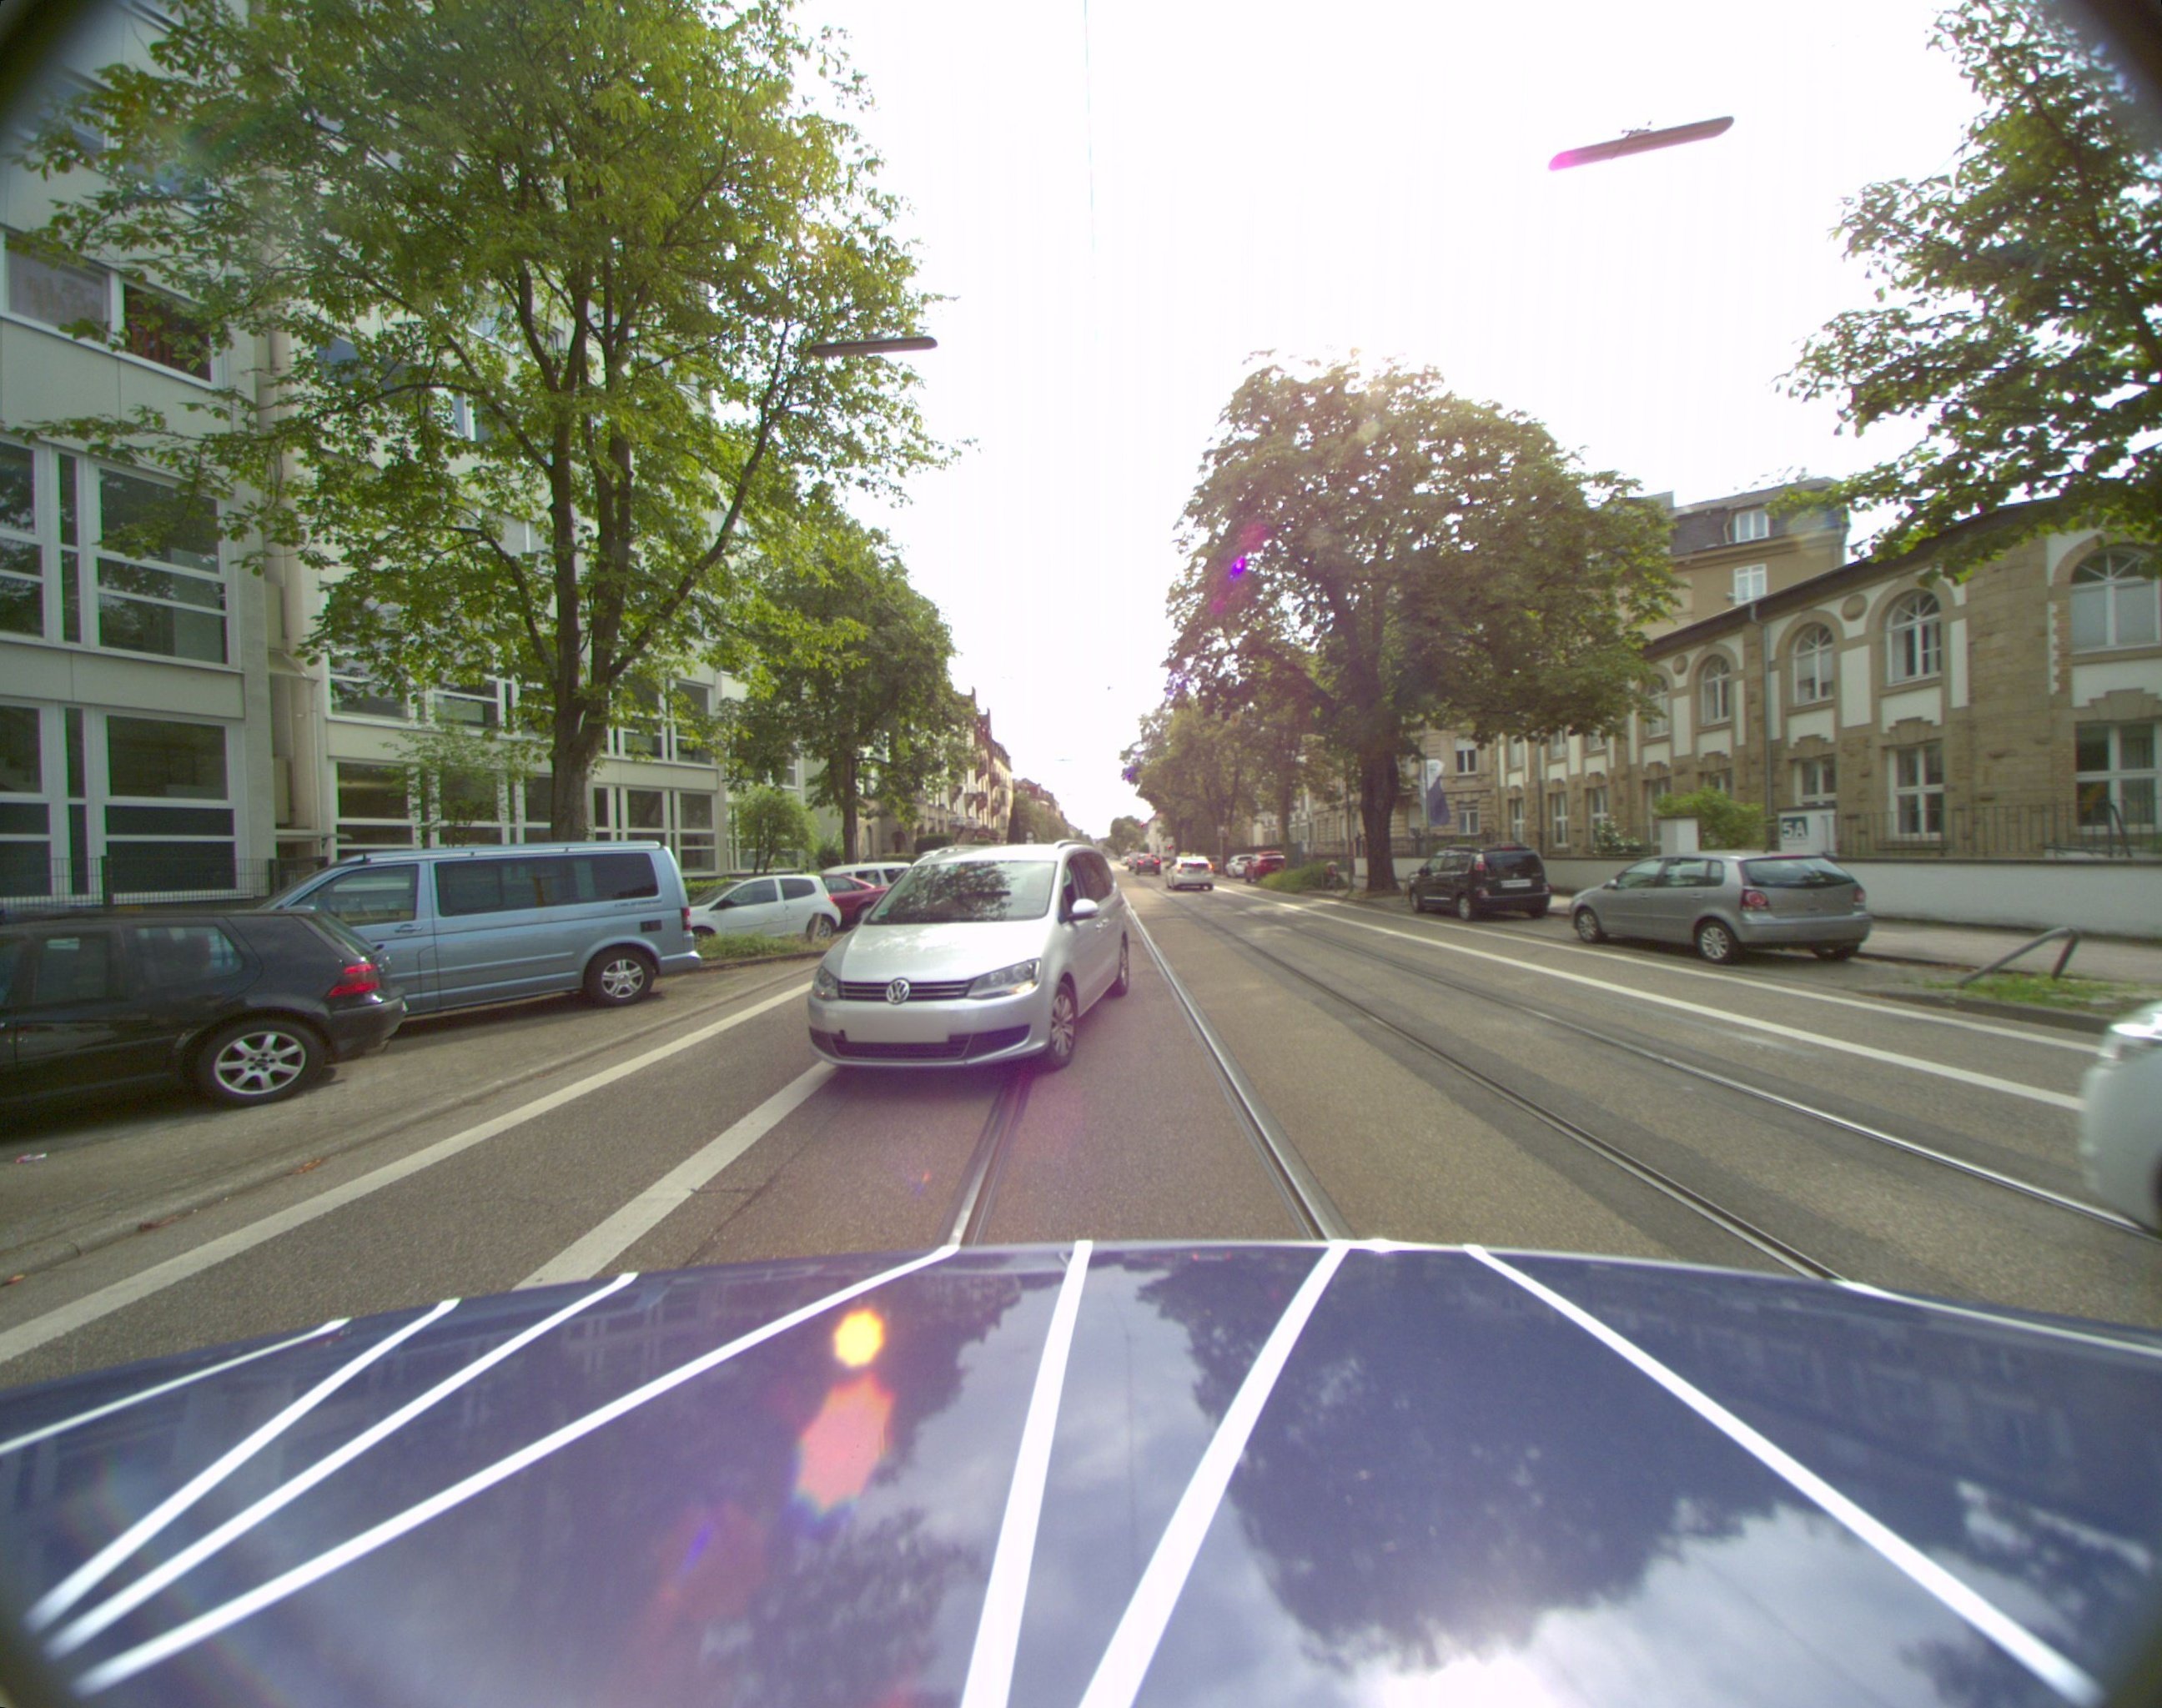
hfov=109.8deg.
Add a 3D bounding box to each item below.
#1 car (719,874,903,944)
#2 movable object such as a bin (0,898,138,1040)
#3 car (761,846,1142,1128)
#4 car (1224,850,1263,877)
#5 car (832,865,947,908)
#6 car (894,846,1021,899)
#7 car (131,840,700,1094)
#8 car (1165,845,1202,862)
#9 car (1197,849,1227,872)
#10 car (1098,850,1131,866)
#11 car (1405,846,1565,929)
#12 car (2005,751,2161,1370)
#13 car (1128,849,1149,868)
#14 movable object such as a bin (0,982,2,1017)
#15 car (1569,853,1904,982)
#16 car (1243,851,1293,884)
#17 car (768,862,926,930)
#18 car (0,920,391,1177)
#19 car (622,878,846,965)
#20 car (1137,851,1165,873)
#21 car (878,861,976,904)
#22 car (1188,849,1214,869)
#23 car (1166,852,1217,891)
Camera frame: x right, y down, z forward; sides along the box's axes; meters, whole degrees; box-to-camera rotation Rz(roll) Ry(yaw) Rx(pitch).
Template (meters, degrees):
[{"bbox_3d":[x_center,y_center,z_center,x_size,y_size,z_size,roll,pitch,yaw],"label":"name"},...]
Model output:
[{"bbox_3d":[-6.496,1.257,18.484,3.777,1.331,1.809,-3,1,-40],"label":"car"},{"bbox_3d":[-12.216,1.284,8.583,1.334,1.450,1.400,-2,0,5],"label":"movable object such as a bin"},{"bbox_3d":[-0.670,0.812,6.998,1.815,1.691,4.621,-2,0,12],"label":"car"},{"bbox_3d":[10.385,0.561,48.786,1.659,1.592,3.906,-2,0,1],"label":"car"},{"bbox_3d":[-6.957,1.135,27.770,3.652,1.322,1.763,-3,1,-44],"label":"car"},{"bbox_3d":[-5.702,0.814,35.581,5.449,2.163,2.142,-3,1,-40],"label":"car"},{"bbox_3d":[-6.982,0.937,8.547,4.354,2.052,1.994,-2,0,-44],"label":"car"},{"bbox_3d":[16.956,-0.099,125.924,5.941,2.585,1.996,-2,0,-25],"label":"car"},{"bbox_3d":[10.173,0.488,59.328,1.659,1.624,3.906,-2,0,1],"label":"car"},{"bbox_3d":[5.431,0.676,123.845,5.259,2.334,1.999,-2,0,-3],"label":"car"},{"bbox_3d":[8.994,0.681,17.295,1.659,1.624,3.725,-2,0,1],"label":"car"},{"bbox_3d":[4.059,0.603,0.452,1.736,1.873,4.378,-2,0,2],"label":"car"},{"bbox_3d":[5.819,0.485,77.580,1.799,1.813,4.678,-2,0,1],"label":"car"},{"bbox_3d":[-14.493,1.315,9.388,1.177,1.559,1.177,-2,1,30],"label":"movable object such as a bin"},{"bbox_3d":[8.843,0.743,10.706,1.632,1.456,3.574,-2,0,1],"label":"car"},{"bbox_3d":[9.777,0.671,40.028,1.659,1.624,3.906,-2,0,1],"label":"car"},{"bbox_3d":[-6.531,1.108,21.402,3.777,1.609,1.809,-3,1,-40],"label":"car"},{"bbox_3d":[-7.400,1.324,5.101,3.980,1.379,1.810,-3,-1,-44],"label":"car"},{"bbox_3d":[-6.841,1.243,15.186,3.652,1.322,1.763,-3,1,-44],"label":"car"},{"bbox_3d":[5.491,0.621,60.281,1.852,1.603,4.334,-2,0,1],"label":"car"},{"bbox_3d":[-6.461,1.163,31.903,3.649,1.580,1.764,-2,1,-25],"label":"car"},{"bbox_3d":[10.487,0.391,66.638,1.659,1.624,3.906,-2,0,1],"label":"car"},{"bbox_3d":[4.915,0.721,34.303,1.736,1.603,4.334,-1,0,1],"label":"car"}]
